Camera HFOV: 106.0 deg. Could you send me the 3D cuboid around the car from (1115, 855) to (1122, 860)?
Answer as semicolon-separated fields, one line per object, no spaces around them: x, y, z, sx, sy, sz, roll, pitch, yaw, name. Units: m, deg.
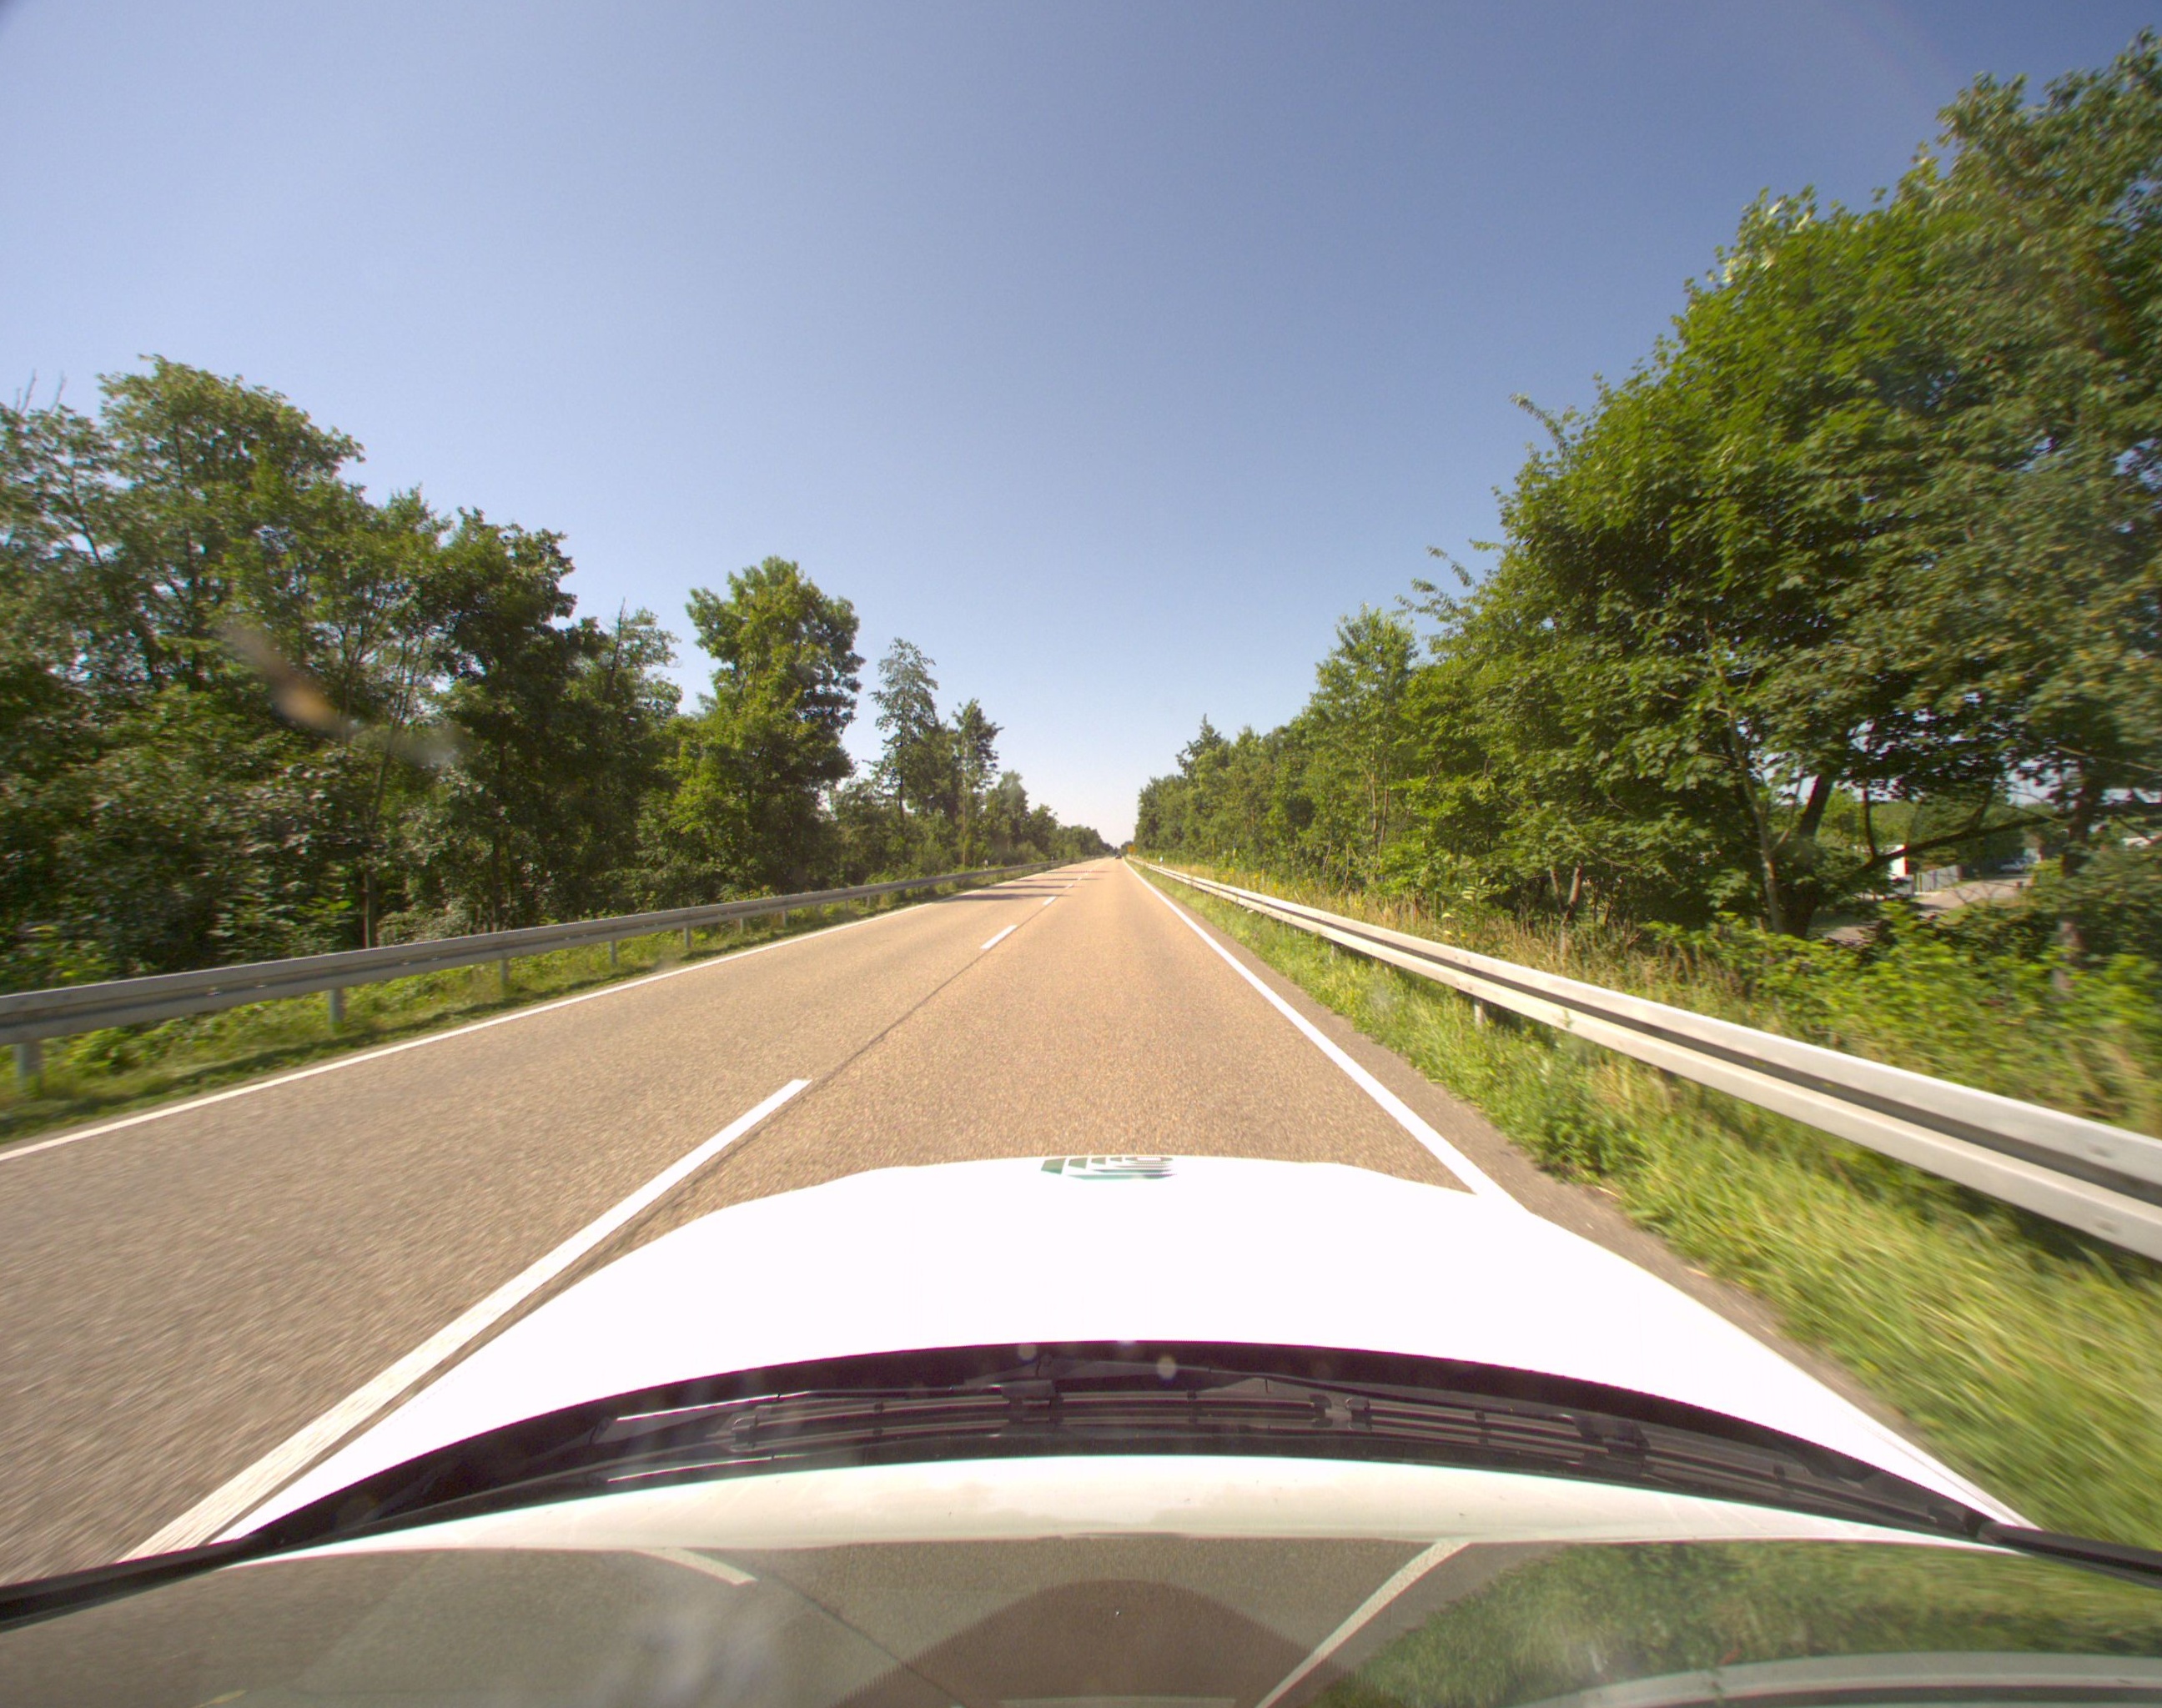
10.549;1.035;230.554;1.733;1.470;3.696;-1;0;4;car
